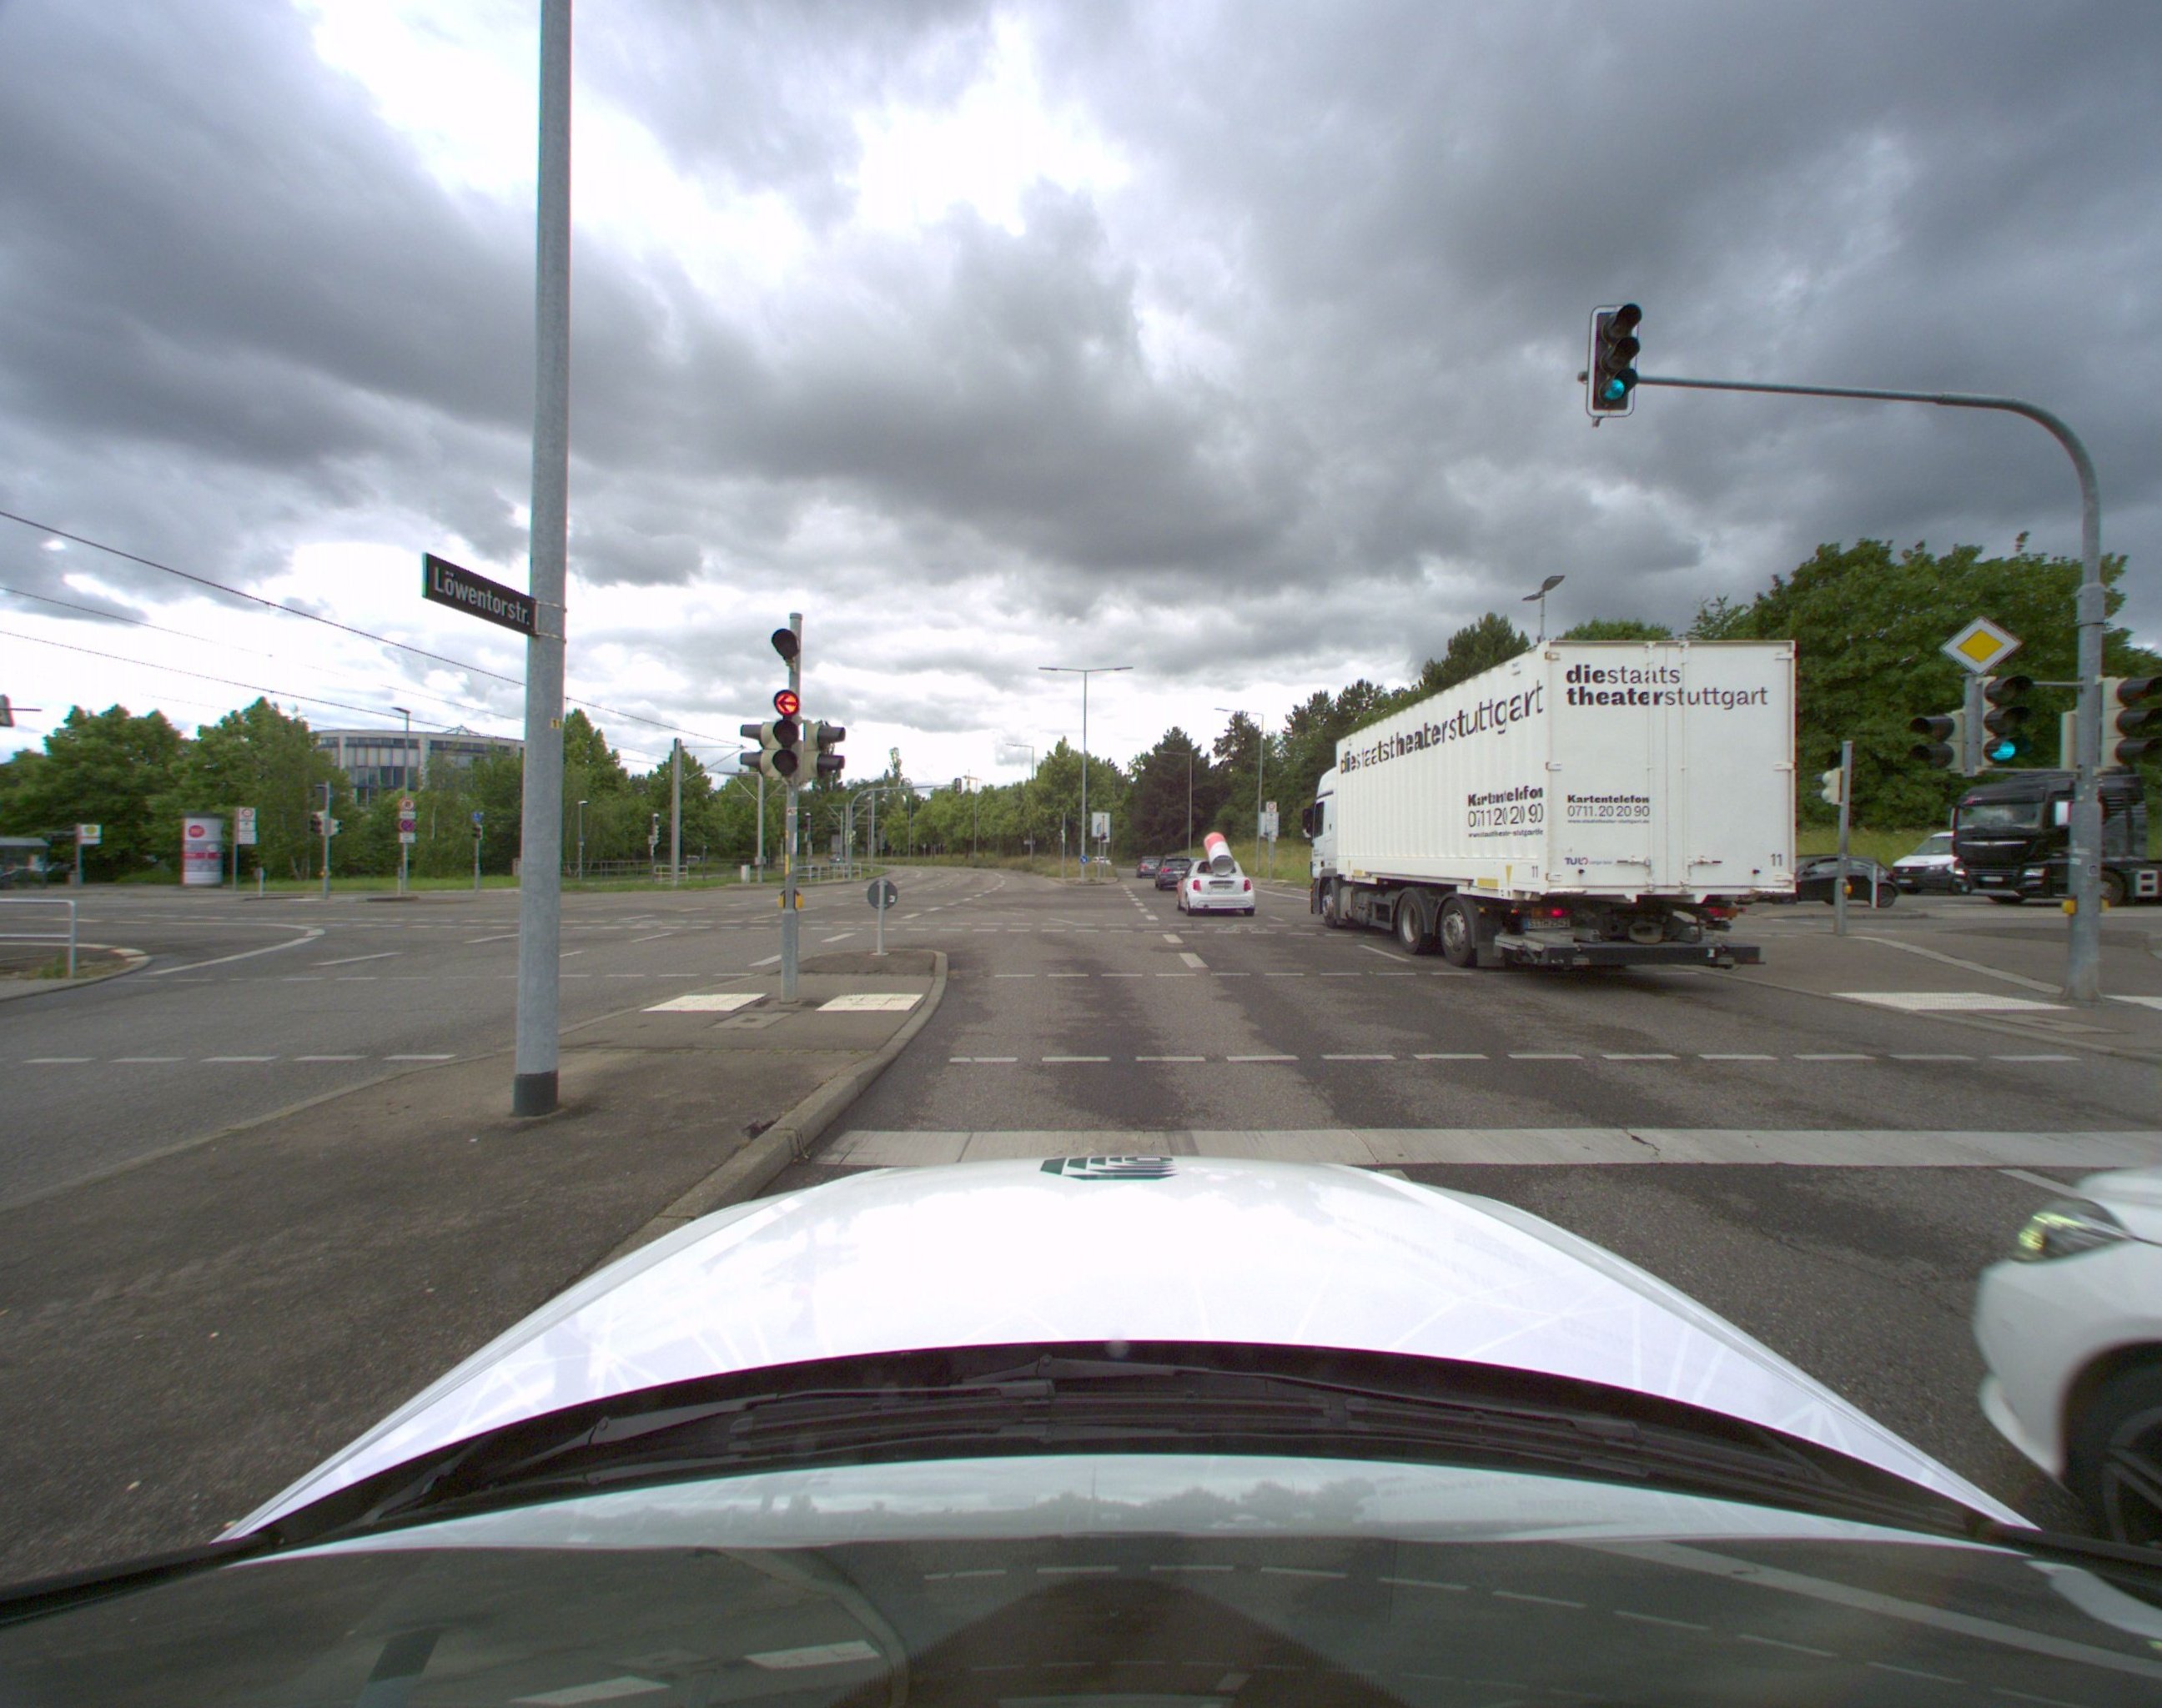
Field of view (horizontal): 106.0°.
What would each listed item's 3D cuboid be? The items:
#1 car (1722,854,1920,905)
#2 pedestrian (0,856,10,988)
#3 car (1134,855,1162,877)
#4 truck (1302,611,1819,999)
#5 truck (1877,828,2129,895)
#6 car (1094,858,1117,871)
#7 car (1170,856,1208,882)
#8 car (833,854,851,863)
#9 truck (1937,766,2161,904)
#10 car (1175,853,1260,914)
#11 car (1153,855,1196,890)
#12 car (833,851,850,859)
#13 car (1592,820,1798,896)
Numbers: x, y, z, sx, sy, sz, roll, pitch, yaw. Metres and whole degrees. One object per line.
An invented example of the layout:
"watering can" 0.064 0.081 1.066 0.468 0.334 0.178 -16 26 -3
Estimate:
"car" 20.515 0.689 22.703 3.859 1.338 1.698 0 -1 4
"pedestrian" -12.827 0.788 9.143 0.632 1.536 0.719 0 -1 -2
"car" 4.692 0.817 57.421 1.740 1.508 4.049 0 0 1
"truck" 6.222 -0.527 13.335 2.792 3.903 10.187 0 0 2
"truck" 32.166 0.272 28.586 5.992 2.230 2.165 0 -1 5
"car" 2.689 1.176 91.421 1.844 1.506 4.517 0 -1 -9
"car" 6.165 0.815 46.828 1.740 1.382 4.292 0 0 2
"car" -41.713 0.789 142.039 1.808 1.587 3.956 0 -1 -35
"truck" 27.976 -0.508 22.295 5.971 3.486 2.694 -1 -1 4
"car" 3.554 0.738 21.780 1.814 1.506 3.496 0 -1 2
"car" 4.252 0.826 37.584 1.618 1.493 3.838 0 0 1
"car" -49.260 0.271 167.322 1.800 1.603 3.839 0 -1 -44
"car" 22.003 0.155 29.385 5.780 2.630 2.002 0 -1 3
